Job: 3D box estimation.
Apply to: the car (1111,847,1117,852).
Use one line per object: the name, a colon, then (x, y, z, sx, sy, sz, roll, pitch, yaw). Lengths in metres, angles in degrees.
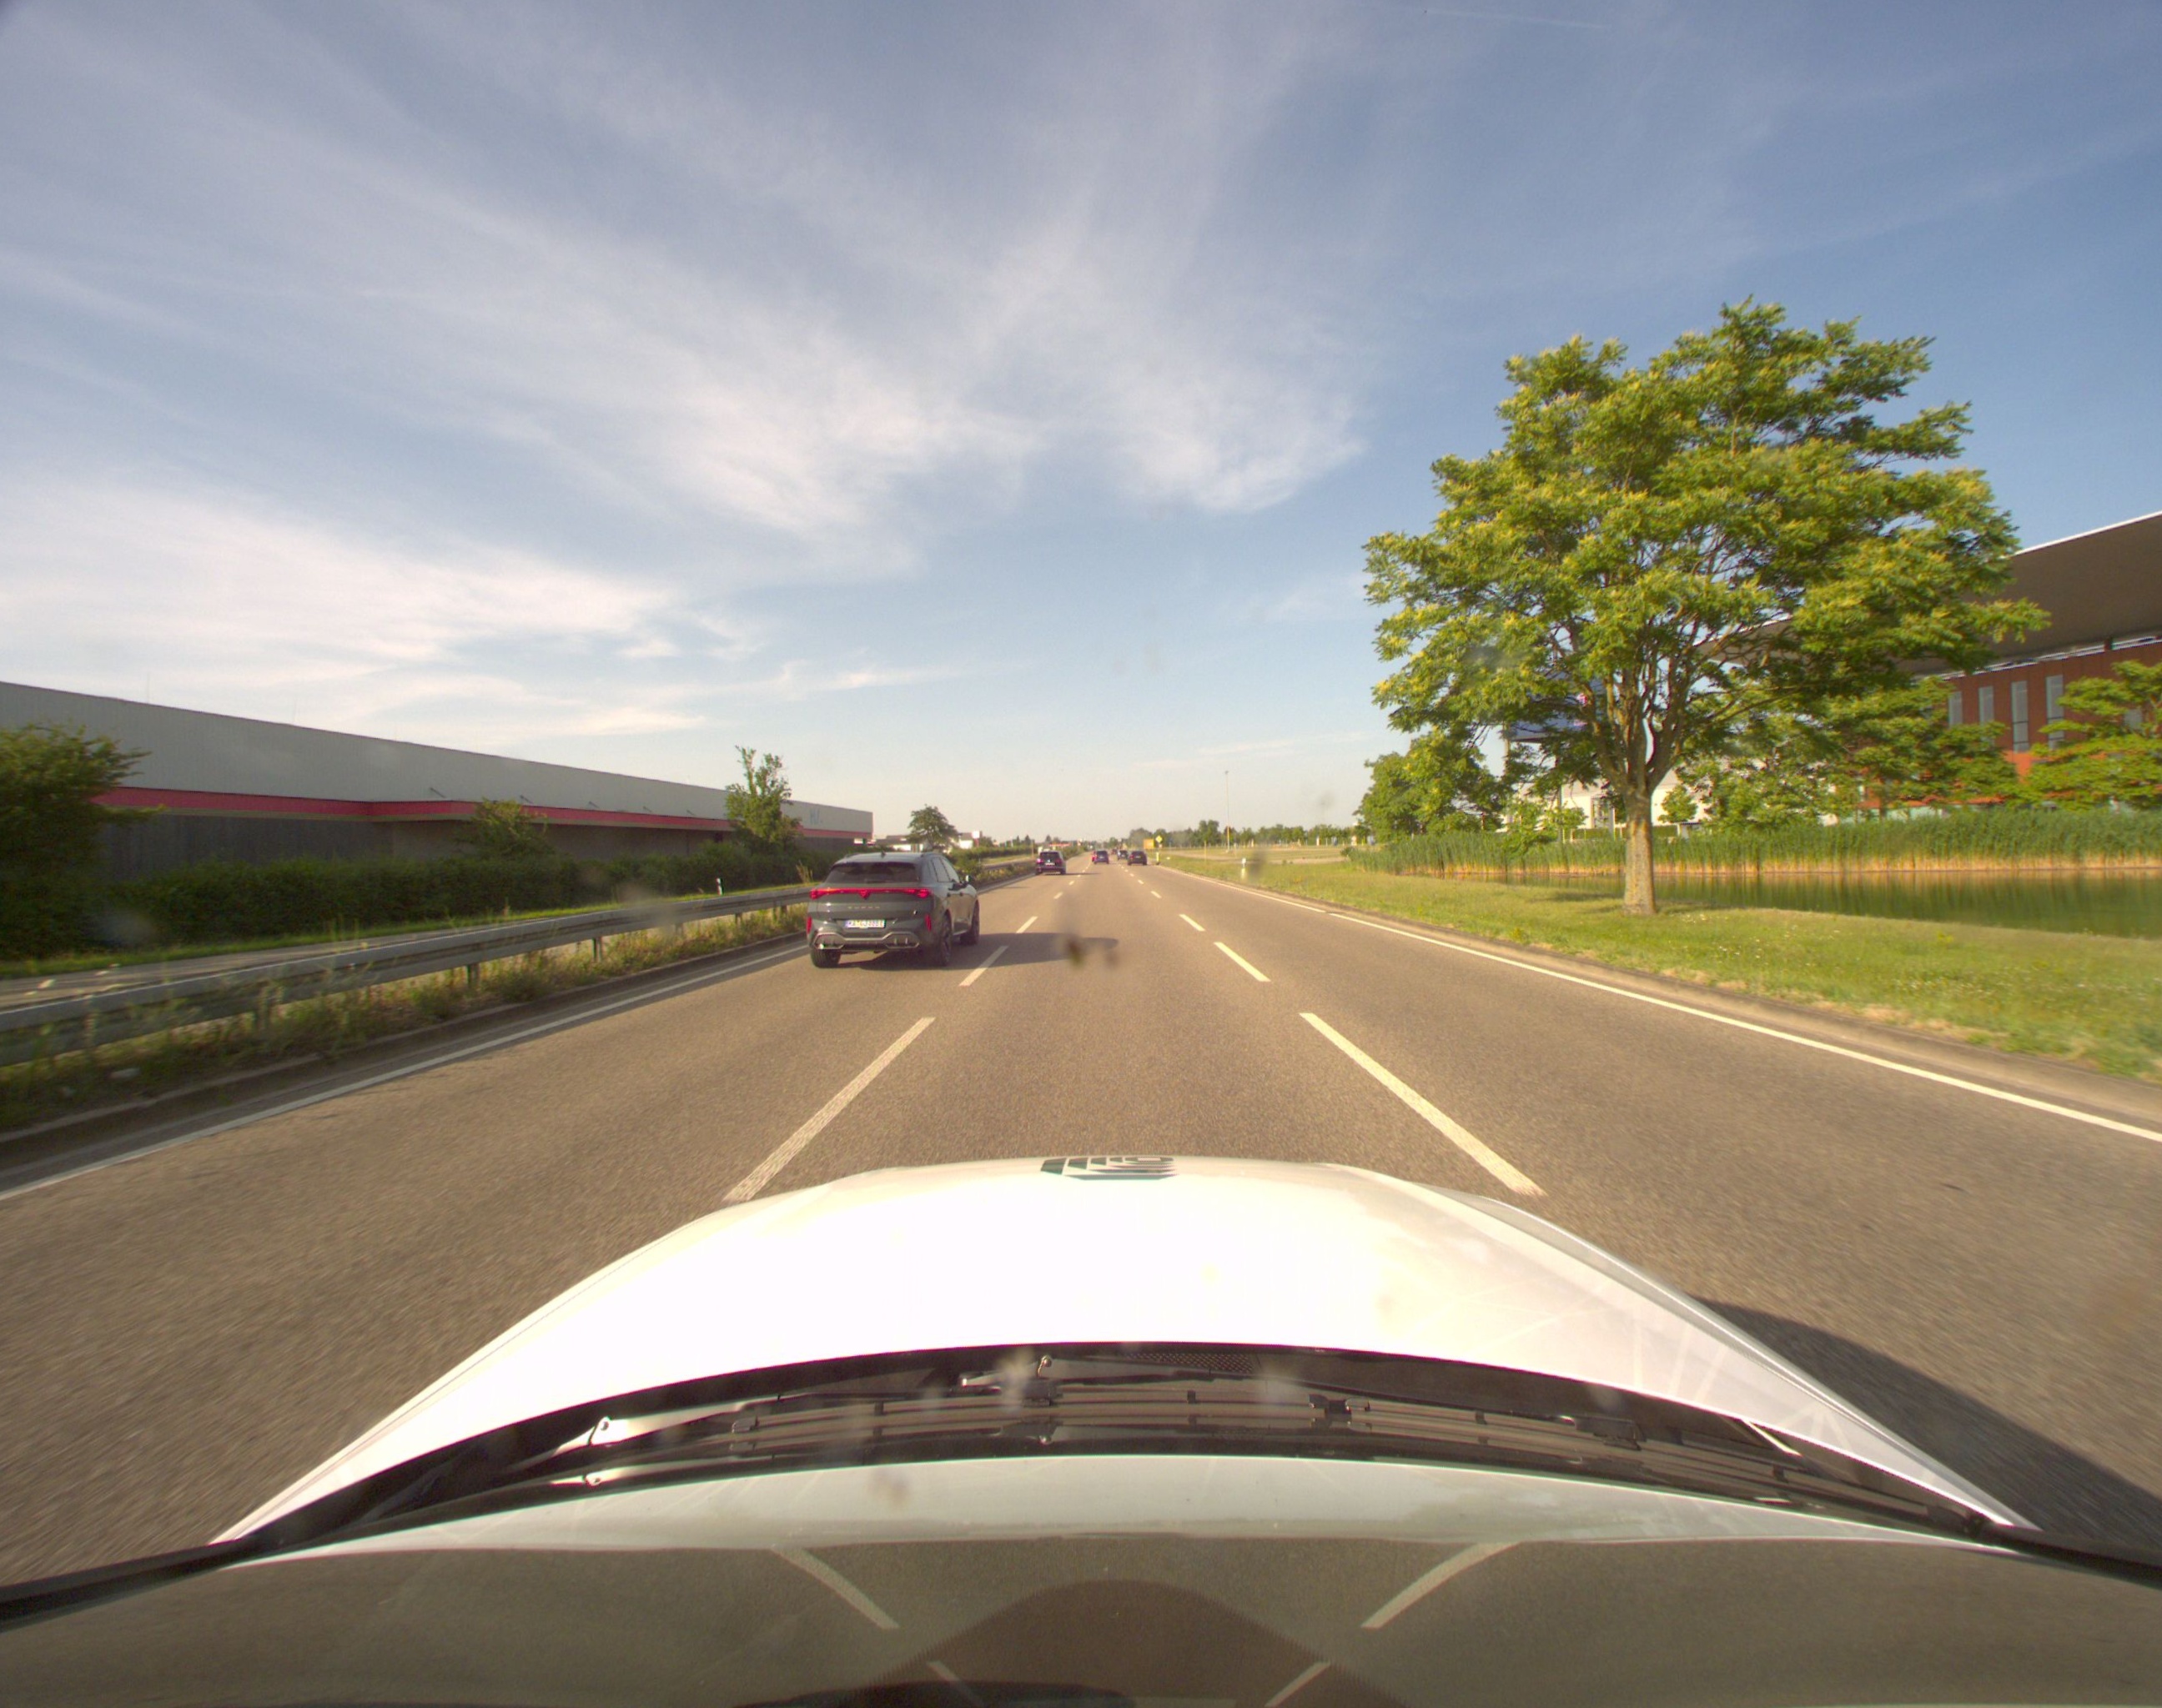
car: (8.391, -1.108, 205.856, 1.497, 1.313, 3.157, 0, 1, 2)

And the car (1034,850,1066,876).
car: (-2.105, 0.595, 56.097, 1.925, 1.680, 4.402, 0, 1, 2)

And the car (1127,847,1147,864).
car: (6.011, 0.127, 87.300, 1.925, 1.680, 4.402, 0, 1, 2)

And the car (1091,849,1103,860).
car: (2.337, 0.056, 117.402, 1.641, 1.463, 3.982, 0, 1, 2)

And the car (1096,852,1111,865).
car: (2.715, 0.573, 97.471, 1.806, 1.463, 4.402, 0, 1, 2)

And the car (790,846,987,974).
car: (-2.694, 0.687, 12.506, 1.839, 1.611, 4.402, 0, 1, 2)

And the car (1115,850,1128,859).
car: (6.555, 0.061, 132.097, 1.866, 1.463, 3.982, 0, 1, 2)
